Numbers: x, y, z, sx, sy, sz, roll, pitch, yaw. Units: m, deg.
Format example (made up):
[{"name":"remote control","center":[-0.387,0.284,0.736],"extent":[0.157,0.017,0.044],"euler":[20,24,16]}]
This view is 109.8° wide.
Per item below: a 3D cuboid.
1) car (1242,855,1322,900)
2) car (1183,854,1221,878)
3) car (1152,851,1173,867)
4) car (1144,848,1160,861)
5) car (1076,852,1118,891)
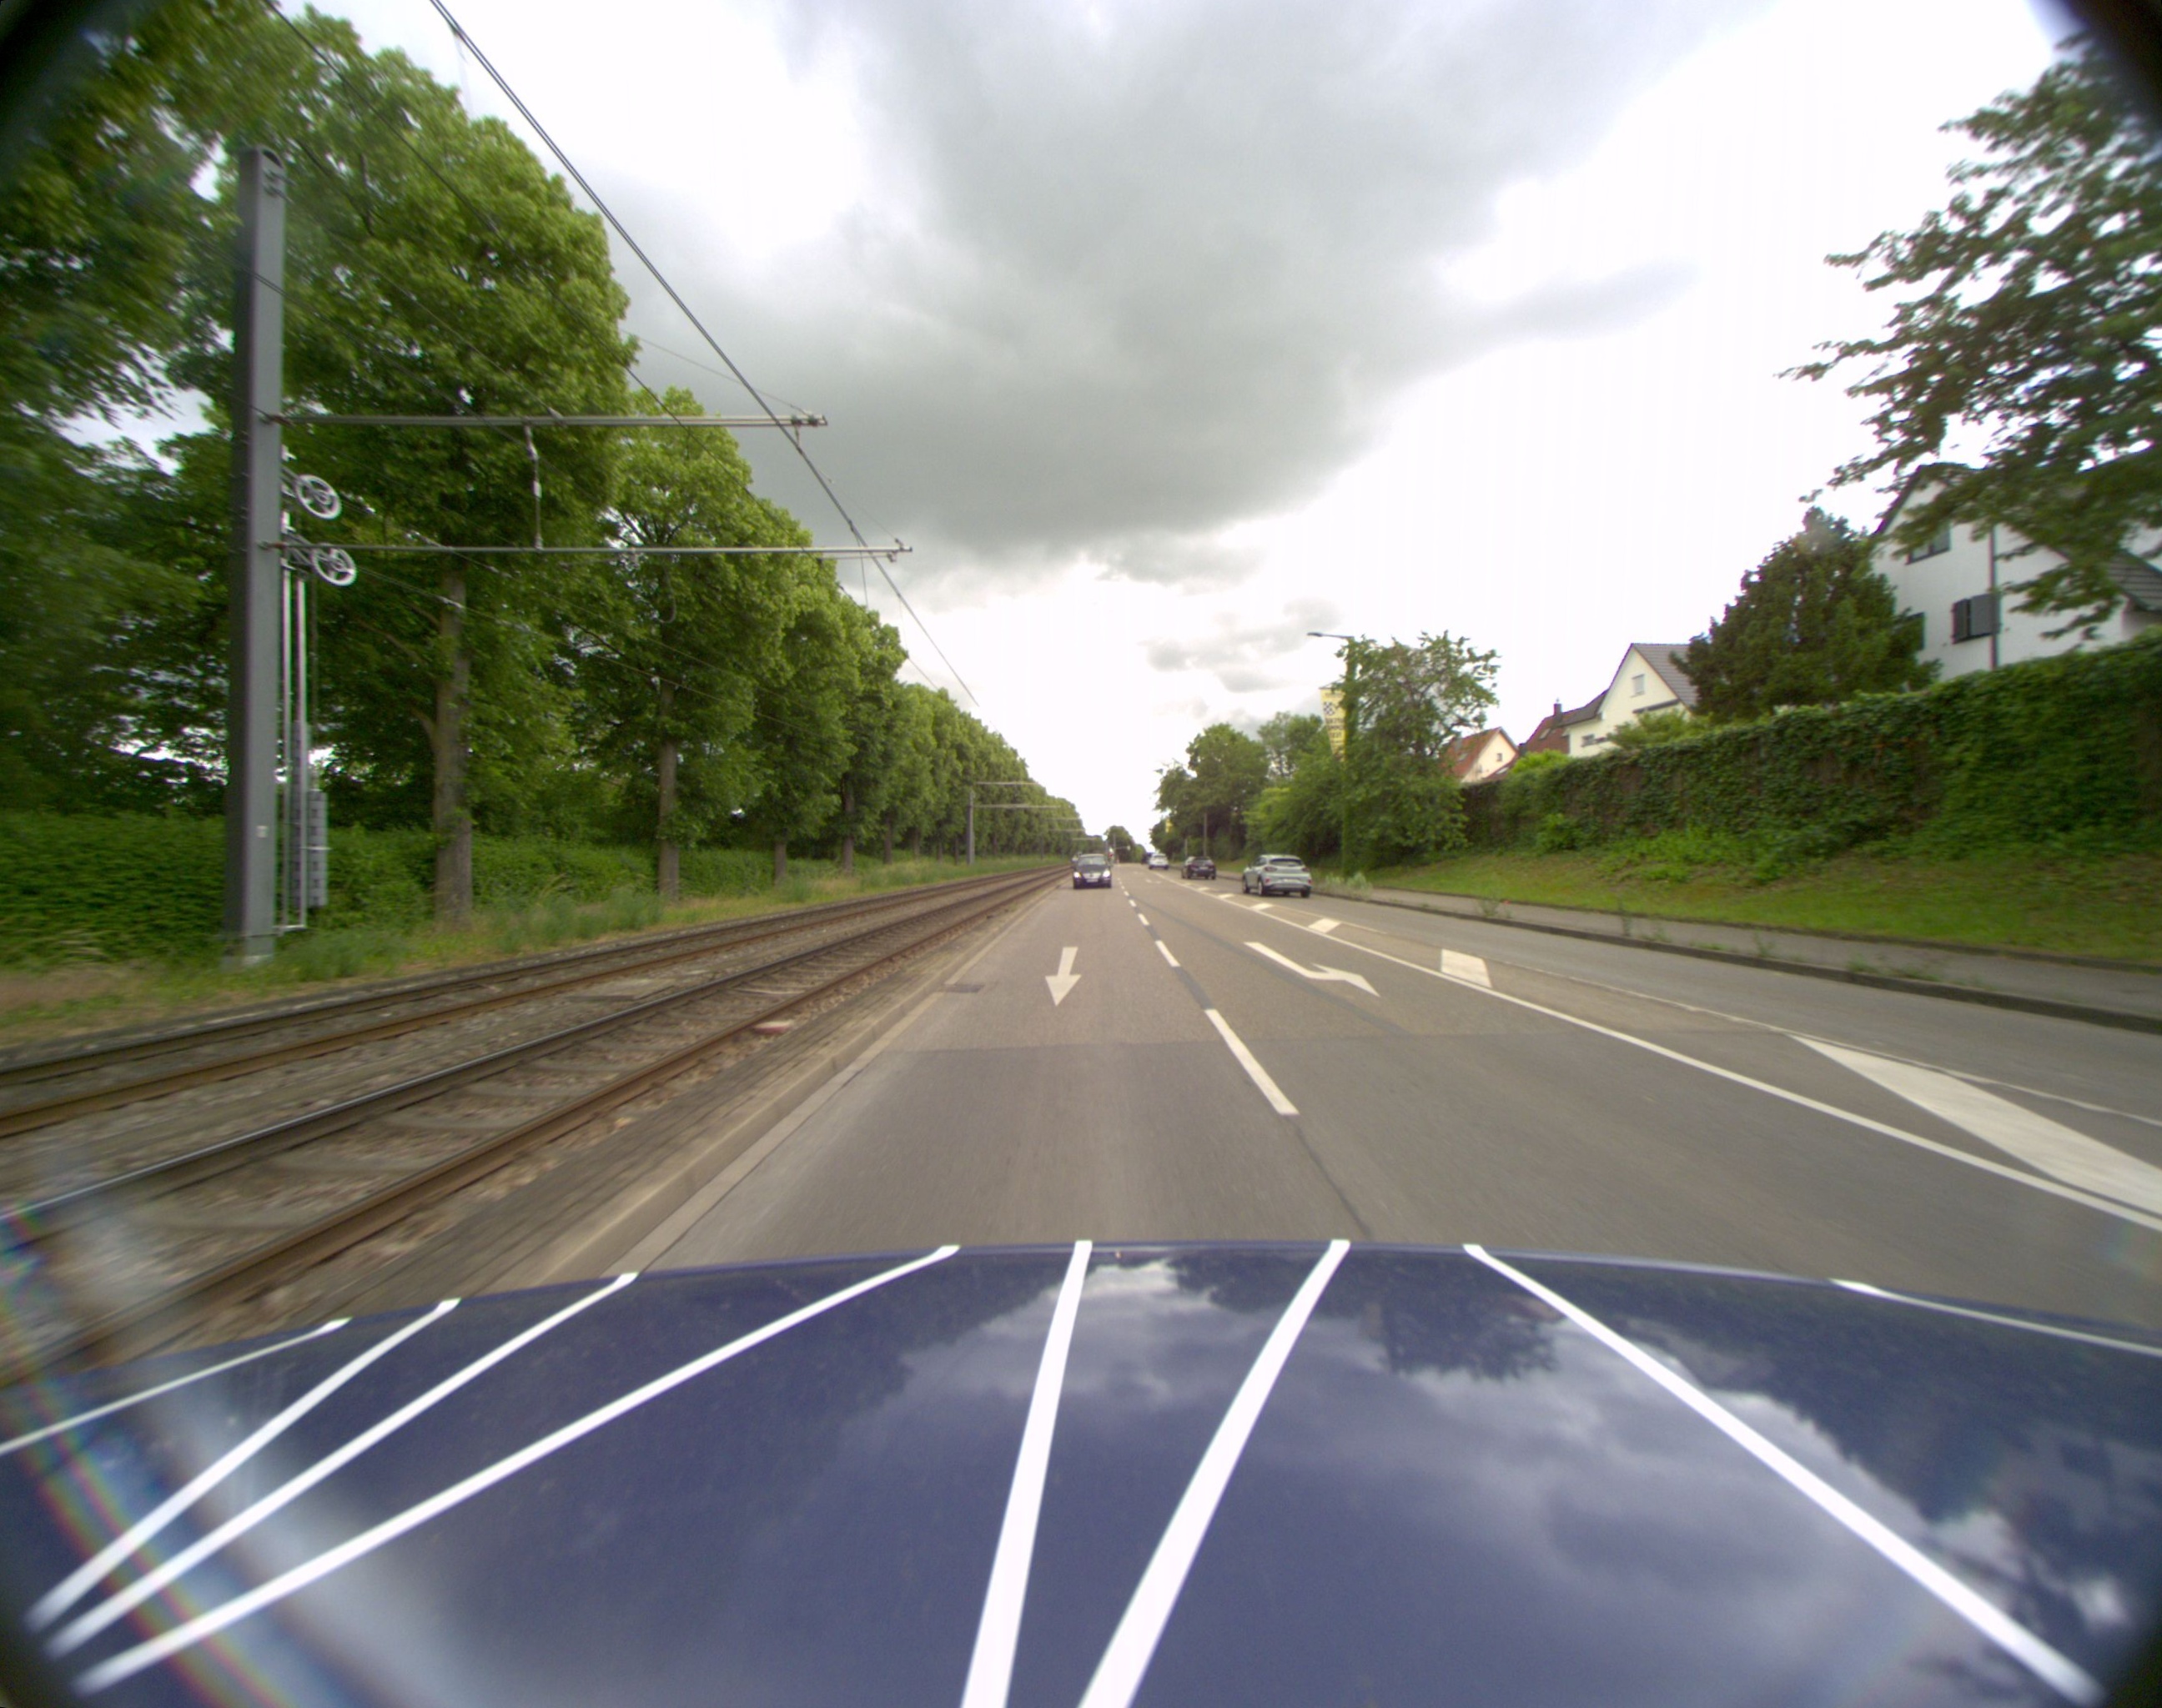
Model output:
[{"name":"car","center":[7.360,0.810,28.214],"extent":[1.831,1.448,4.142],"euler":[2,0,0]},{"name":"car","center":[7.687,0.740,48.570],"extent":[1.770,1.392,4.215],"euler":[2,0,0]},{"name":"car","center":[8.442,0.497,78.880],"extent":[1.846,1.611,4.159],"euler":[1,0,1]},{"name":"car","center":[11.067,0.086,118.768],"extent":[1.998,2.024,5.116],"euler":[-1,0,1]},{"name":"car","center":[0.736,0.740,34.769],"extent":[1.749,1.558,4.121],"euler":[-3,0,2]}]
